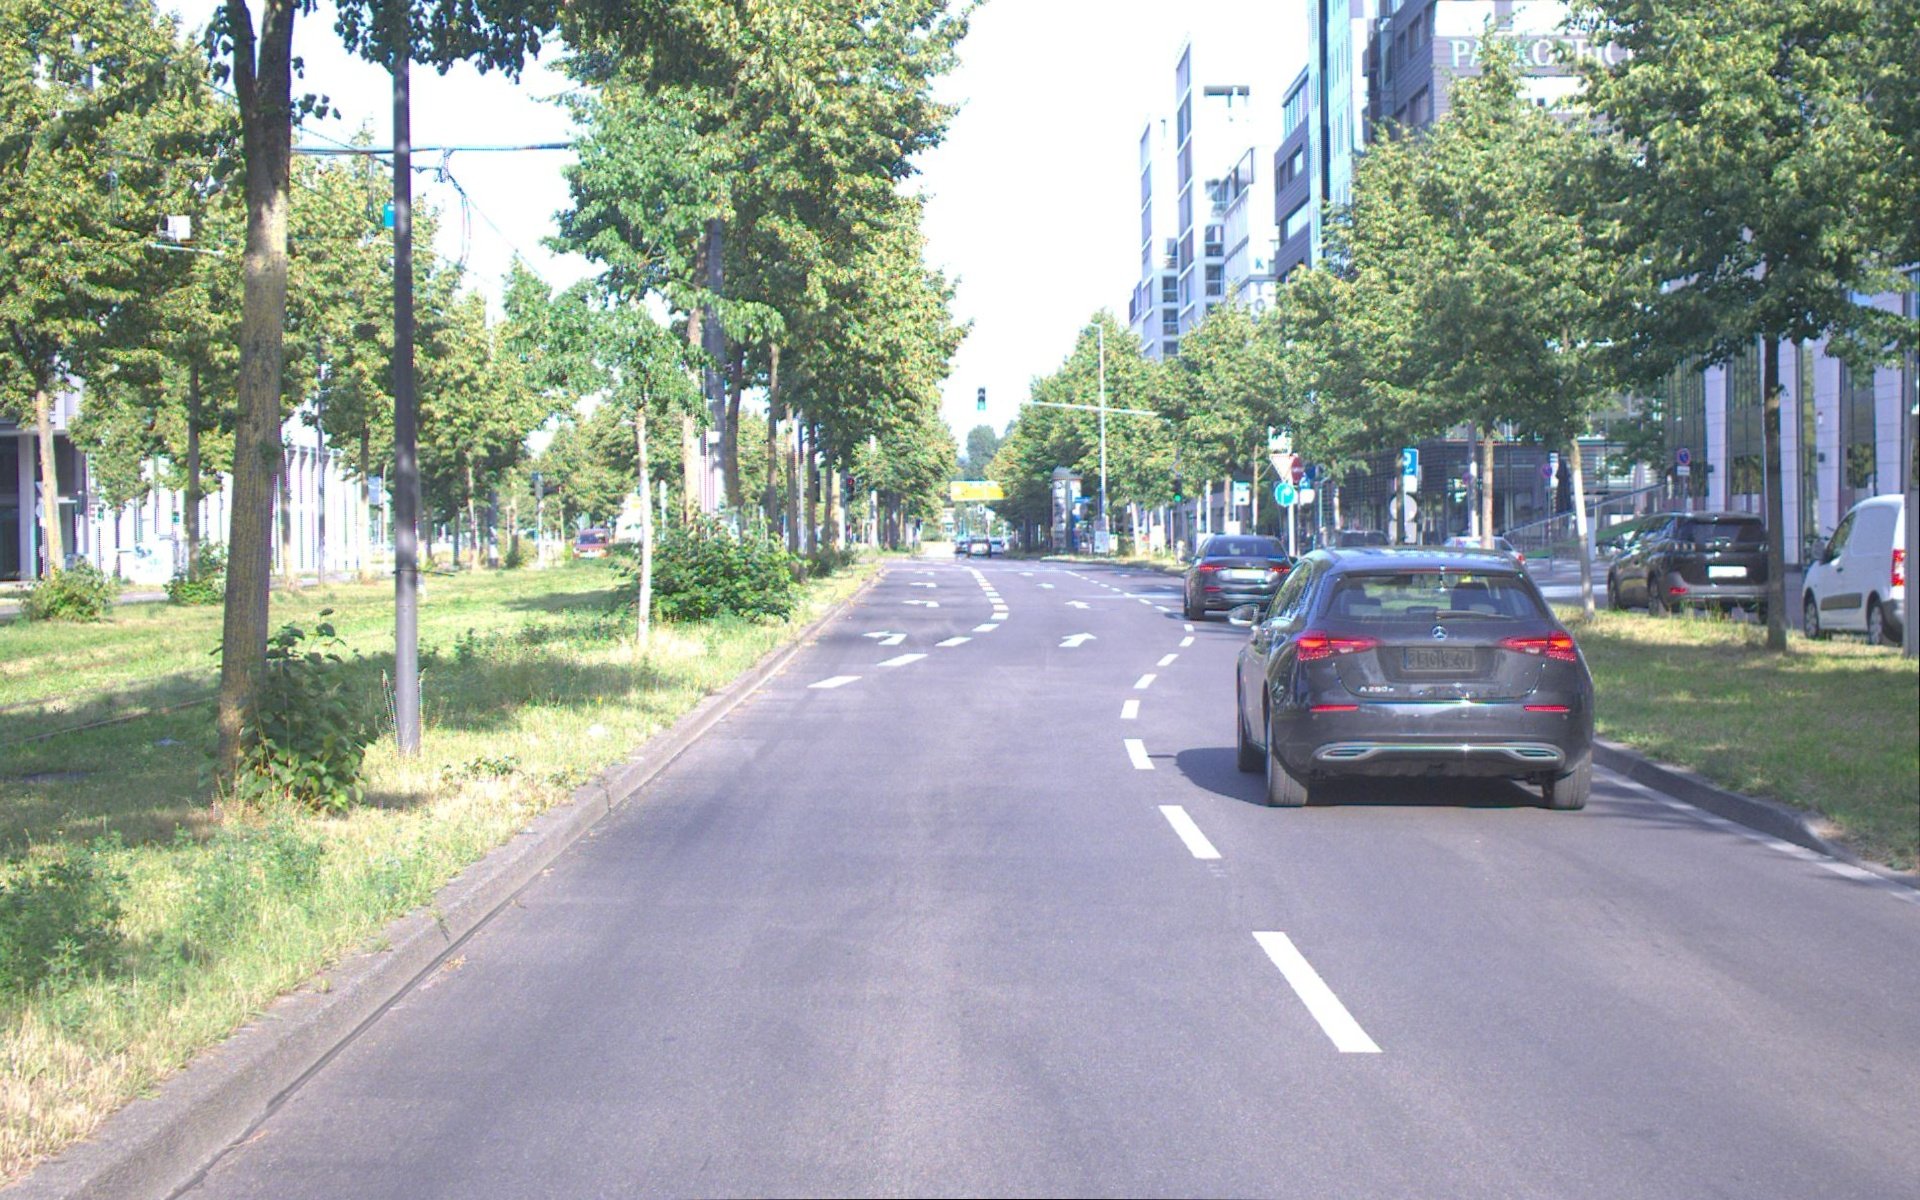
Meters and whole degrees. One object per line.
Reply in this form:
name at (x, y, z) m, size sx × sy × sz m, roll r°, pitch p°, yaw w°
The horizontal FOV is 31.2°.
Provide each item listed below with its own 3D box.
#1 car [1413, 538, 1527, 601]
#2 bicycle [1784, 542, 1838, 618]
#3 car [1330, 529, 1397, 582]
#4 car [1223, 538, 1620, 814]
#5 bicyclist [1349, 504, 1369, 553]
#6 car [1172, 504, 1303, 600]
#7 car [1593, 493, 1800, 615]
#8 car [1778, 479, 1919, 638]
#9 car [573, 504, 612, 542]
car at (10.641, -0.645, 71.977) m, size 1.708 × 1.238 × 3.906 m, roll 1°, pitch 1°, yaw -1°
bicycle at (17.951, -0.422, 72.541) m, size 0.555 × 1.565 × 2.276 m, roll 1°, pitch 0°, yaw 0°
car at (10.931, -1.199, 93.320) m, size 1.607 × 1.366 × 4.157 m, roll 1°, pitch 1°, yaw 5°
car at (2.582, 0.376, 20.096) m, size 1.774 × 1.419 × 3.961 m, roll 1°, pitch 1°, yaw 0°
bicyclist at (13.928, -2.484, 119.906) m, size 0.574 × 1.701 × 0.541 m, roll 1°, pitch 1°, yaw -4°
car at (4.623, -0.806, 57.678) m, size 1.859 × 1.519 × 3.786 m, roll 1°, pitch 1°, yaw 0°
car at (10.929, -0.730, 51.336) m, size 1.897 × 1.702 × 4.678 m, roll 1°, pitch 2°, yaw -2°
car at (10.845, -0.458, 39.119) m, size 1.827 × 1.706 × 4.297 m, roll 1°, pitch 1°, yaw -3°
car at (-17.913, -3.760, 167.762) m, size 1.684 × 1.769 × 3.883 m, roll 1°, pitch 1°, yaw -4°
